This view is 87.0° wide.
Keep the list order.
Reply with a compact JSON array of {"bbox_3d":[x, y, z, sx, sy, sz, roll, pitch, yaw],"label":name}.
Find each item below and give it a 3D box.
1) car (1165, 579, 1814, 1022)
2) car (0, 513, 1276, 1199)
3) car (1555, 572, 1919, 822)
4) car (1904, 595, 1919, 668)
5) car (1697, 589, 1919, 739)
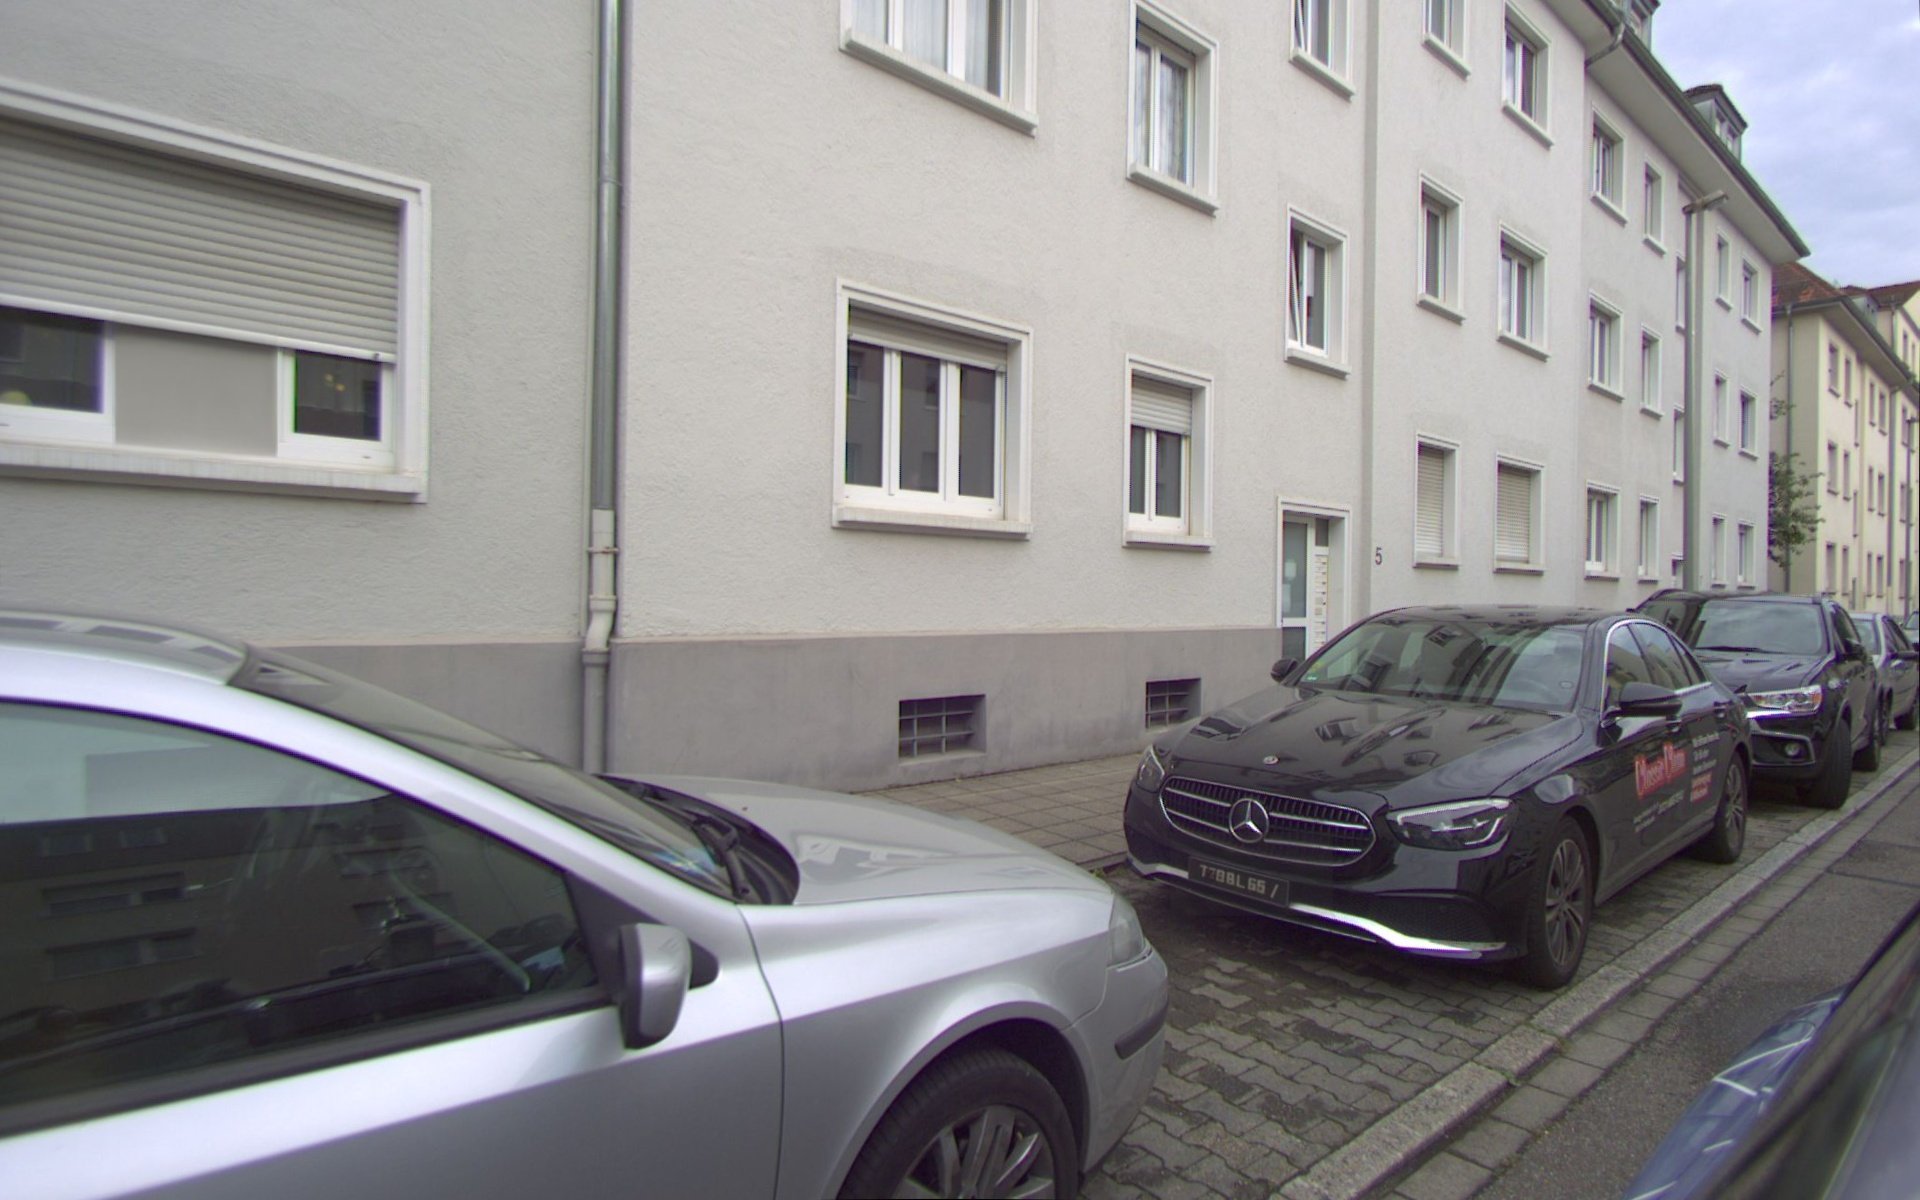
[{"bbox_3d":[3.135,0.683,5.523,4.249,1.481,1.784,1,1,-42],"label":"car"},{"bbox_3d":[-1.455,0.642,1.546,4.354,1.481,1.735,1,1,-42],"label":"car"},{"bbox_3d":[6.819,0.632,8.654,4.089,1.619,1.851,1,1,-42],"label":"car"},{"bbox_3d":[22.203,0.688,22.305,3.615,1.566,1.735,0,1,-42],"label":"car"},{"bbox_3d":[10.447,0.665,12.199,3.690,1.505,1.736,1,1,-41],"label":"car"}]
